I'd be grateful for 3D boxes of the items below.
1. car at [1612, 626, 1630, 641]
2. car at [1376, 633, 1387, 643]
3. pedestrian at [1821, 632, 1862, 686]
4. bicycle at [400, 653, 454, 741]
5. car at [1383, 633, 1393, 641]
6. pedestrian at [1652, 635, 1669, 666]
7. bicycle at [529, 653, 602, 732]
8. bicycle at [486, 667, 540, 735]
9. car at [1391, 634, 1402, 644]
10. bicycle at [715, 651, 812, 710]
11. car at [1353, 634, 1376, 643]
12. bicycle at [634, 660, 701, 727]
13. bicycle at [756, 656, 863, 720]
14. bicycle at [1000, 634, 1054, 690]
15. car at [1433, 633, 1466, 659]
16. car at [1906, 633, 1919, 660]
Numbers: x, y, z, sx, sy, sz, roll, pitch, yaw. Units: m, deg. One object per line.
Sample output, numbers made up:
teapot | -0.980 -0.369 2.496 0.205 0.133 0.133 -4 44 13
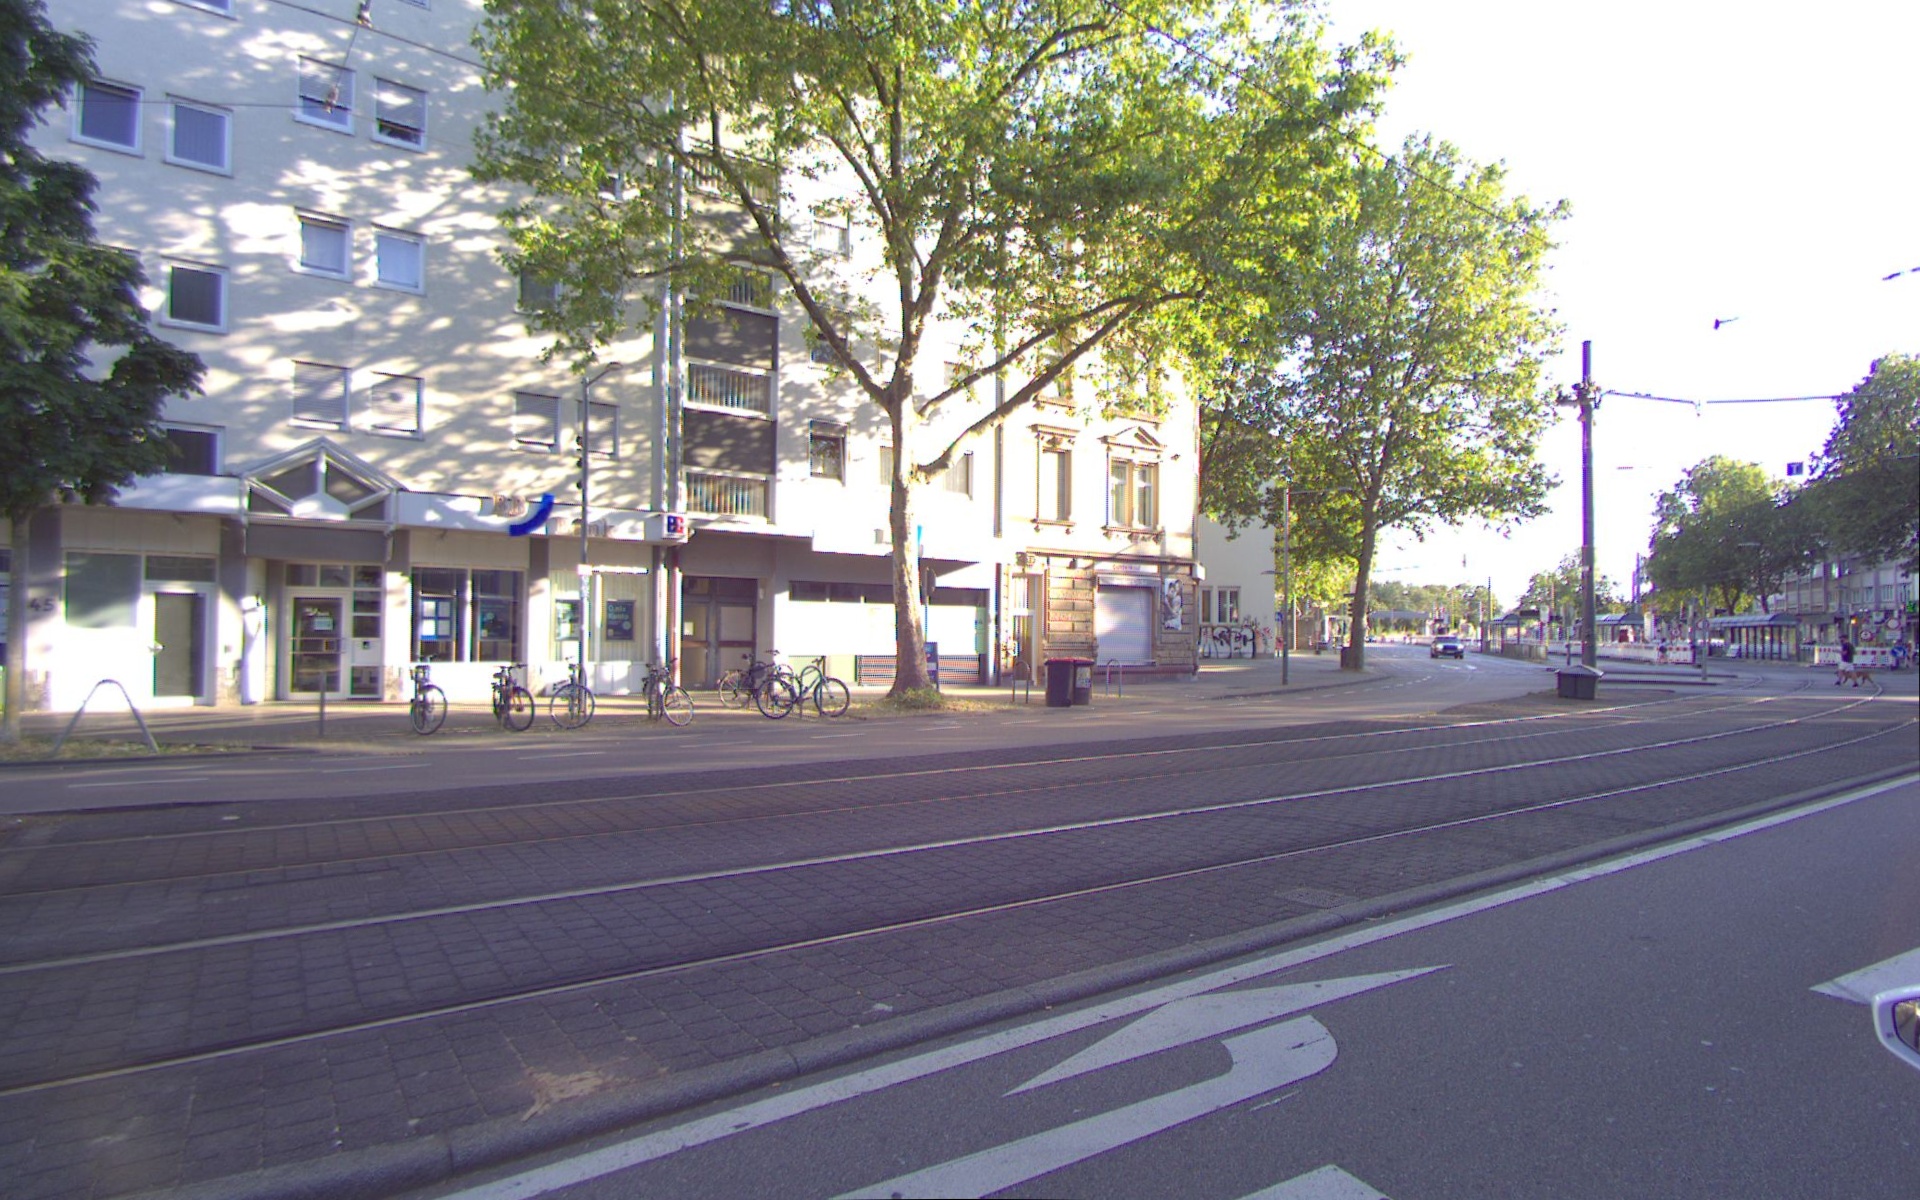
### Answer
car | 88.867 4.493 135.072 1.593 2.040 3.110 0 -2 26
car | 79.455 7.183 189.326 1.814 1.706 3.716 0 -2 23
pedestrian | 29.300 1.948 33.386 0.510 1.750 0.893 1 -2 -27
bicycle | -7.835 1.391 14.751 0.506 1.153 1.729 2 -1 -34
car | 89.573 7.730 210.275 1.814 1.706 3.716 0 -2 23
pedestrian | 38.650 2.793 55.421 0.645 1.678 0.444 0 -2 18
bicycle | -6.339 1.440 16.090 0.724 1.128 1.729 2 -1 -34
bicycle | -6.934 1.538 15.539 0.467 0.900 1.729 2 -1 -34
car | 78.775 7.020 181.344 1.814 1.706 3.715 -2 -2 23
bicycle | -3.909 1.583 20.012 1.777 1.132 0.617 2 -2 -29
car | 78.241 7.361 194.281 3.919 1.661 1.792 0 -2 13
bicycle | -4.999 1.560 17.117 0.584 1.002 1.729 2 -1 -34
bicycle | -2.710 1.564 18.151 1.800 1.091 0.649 2 -2 -29
bicycle | 1.835 1.694 27.819 0.469 1.430 1.956 1 -1 -29
car | 32.976 3.096 67.703 1.962 1.661 3.997 0 -2 25
car | 64.648 3.108 66.108 1.960 1.815 4.000 2 -1 20
